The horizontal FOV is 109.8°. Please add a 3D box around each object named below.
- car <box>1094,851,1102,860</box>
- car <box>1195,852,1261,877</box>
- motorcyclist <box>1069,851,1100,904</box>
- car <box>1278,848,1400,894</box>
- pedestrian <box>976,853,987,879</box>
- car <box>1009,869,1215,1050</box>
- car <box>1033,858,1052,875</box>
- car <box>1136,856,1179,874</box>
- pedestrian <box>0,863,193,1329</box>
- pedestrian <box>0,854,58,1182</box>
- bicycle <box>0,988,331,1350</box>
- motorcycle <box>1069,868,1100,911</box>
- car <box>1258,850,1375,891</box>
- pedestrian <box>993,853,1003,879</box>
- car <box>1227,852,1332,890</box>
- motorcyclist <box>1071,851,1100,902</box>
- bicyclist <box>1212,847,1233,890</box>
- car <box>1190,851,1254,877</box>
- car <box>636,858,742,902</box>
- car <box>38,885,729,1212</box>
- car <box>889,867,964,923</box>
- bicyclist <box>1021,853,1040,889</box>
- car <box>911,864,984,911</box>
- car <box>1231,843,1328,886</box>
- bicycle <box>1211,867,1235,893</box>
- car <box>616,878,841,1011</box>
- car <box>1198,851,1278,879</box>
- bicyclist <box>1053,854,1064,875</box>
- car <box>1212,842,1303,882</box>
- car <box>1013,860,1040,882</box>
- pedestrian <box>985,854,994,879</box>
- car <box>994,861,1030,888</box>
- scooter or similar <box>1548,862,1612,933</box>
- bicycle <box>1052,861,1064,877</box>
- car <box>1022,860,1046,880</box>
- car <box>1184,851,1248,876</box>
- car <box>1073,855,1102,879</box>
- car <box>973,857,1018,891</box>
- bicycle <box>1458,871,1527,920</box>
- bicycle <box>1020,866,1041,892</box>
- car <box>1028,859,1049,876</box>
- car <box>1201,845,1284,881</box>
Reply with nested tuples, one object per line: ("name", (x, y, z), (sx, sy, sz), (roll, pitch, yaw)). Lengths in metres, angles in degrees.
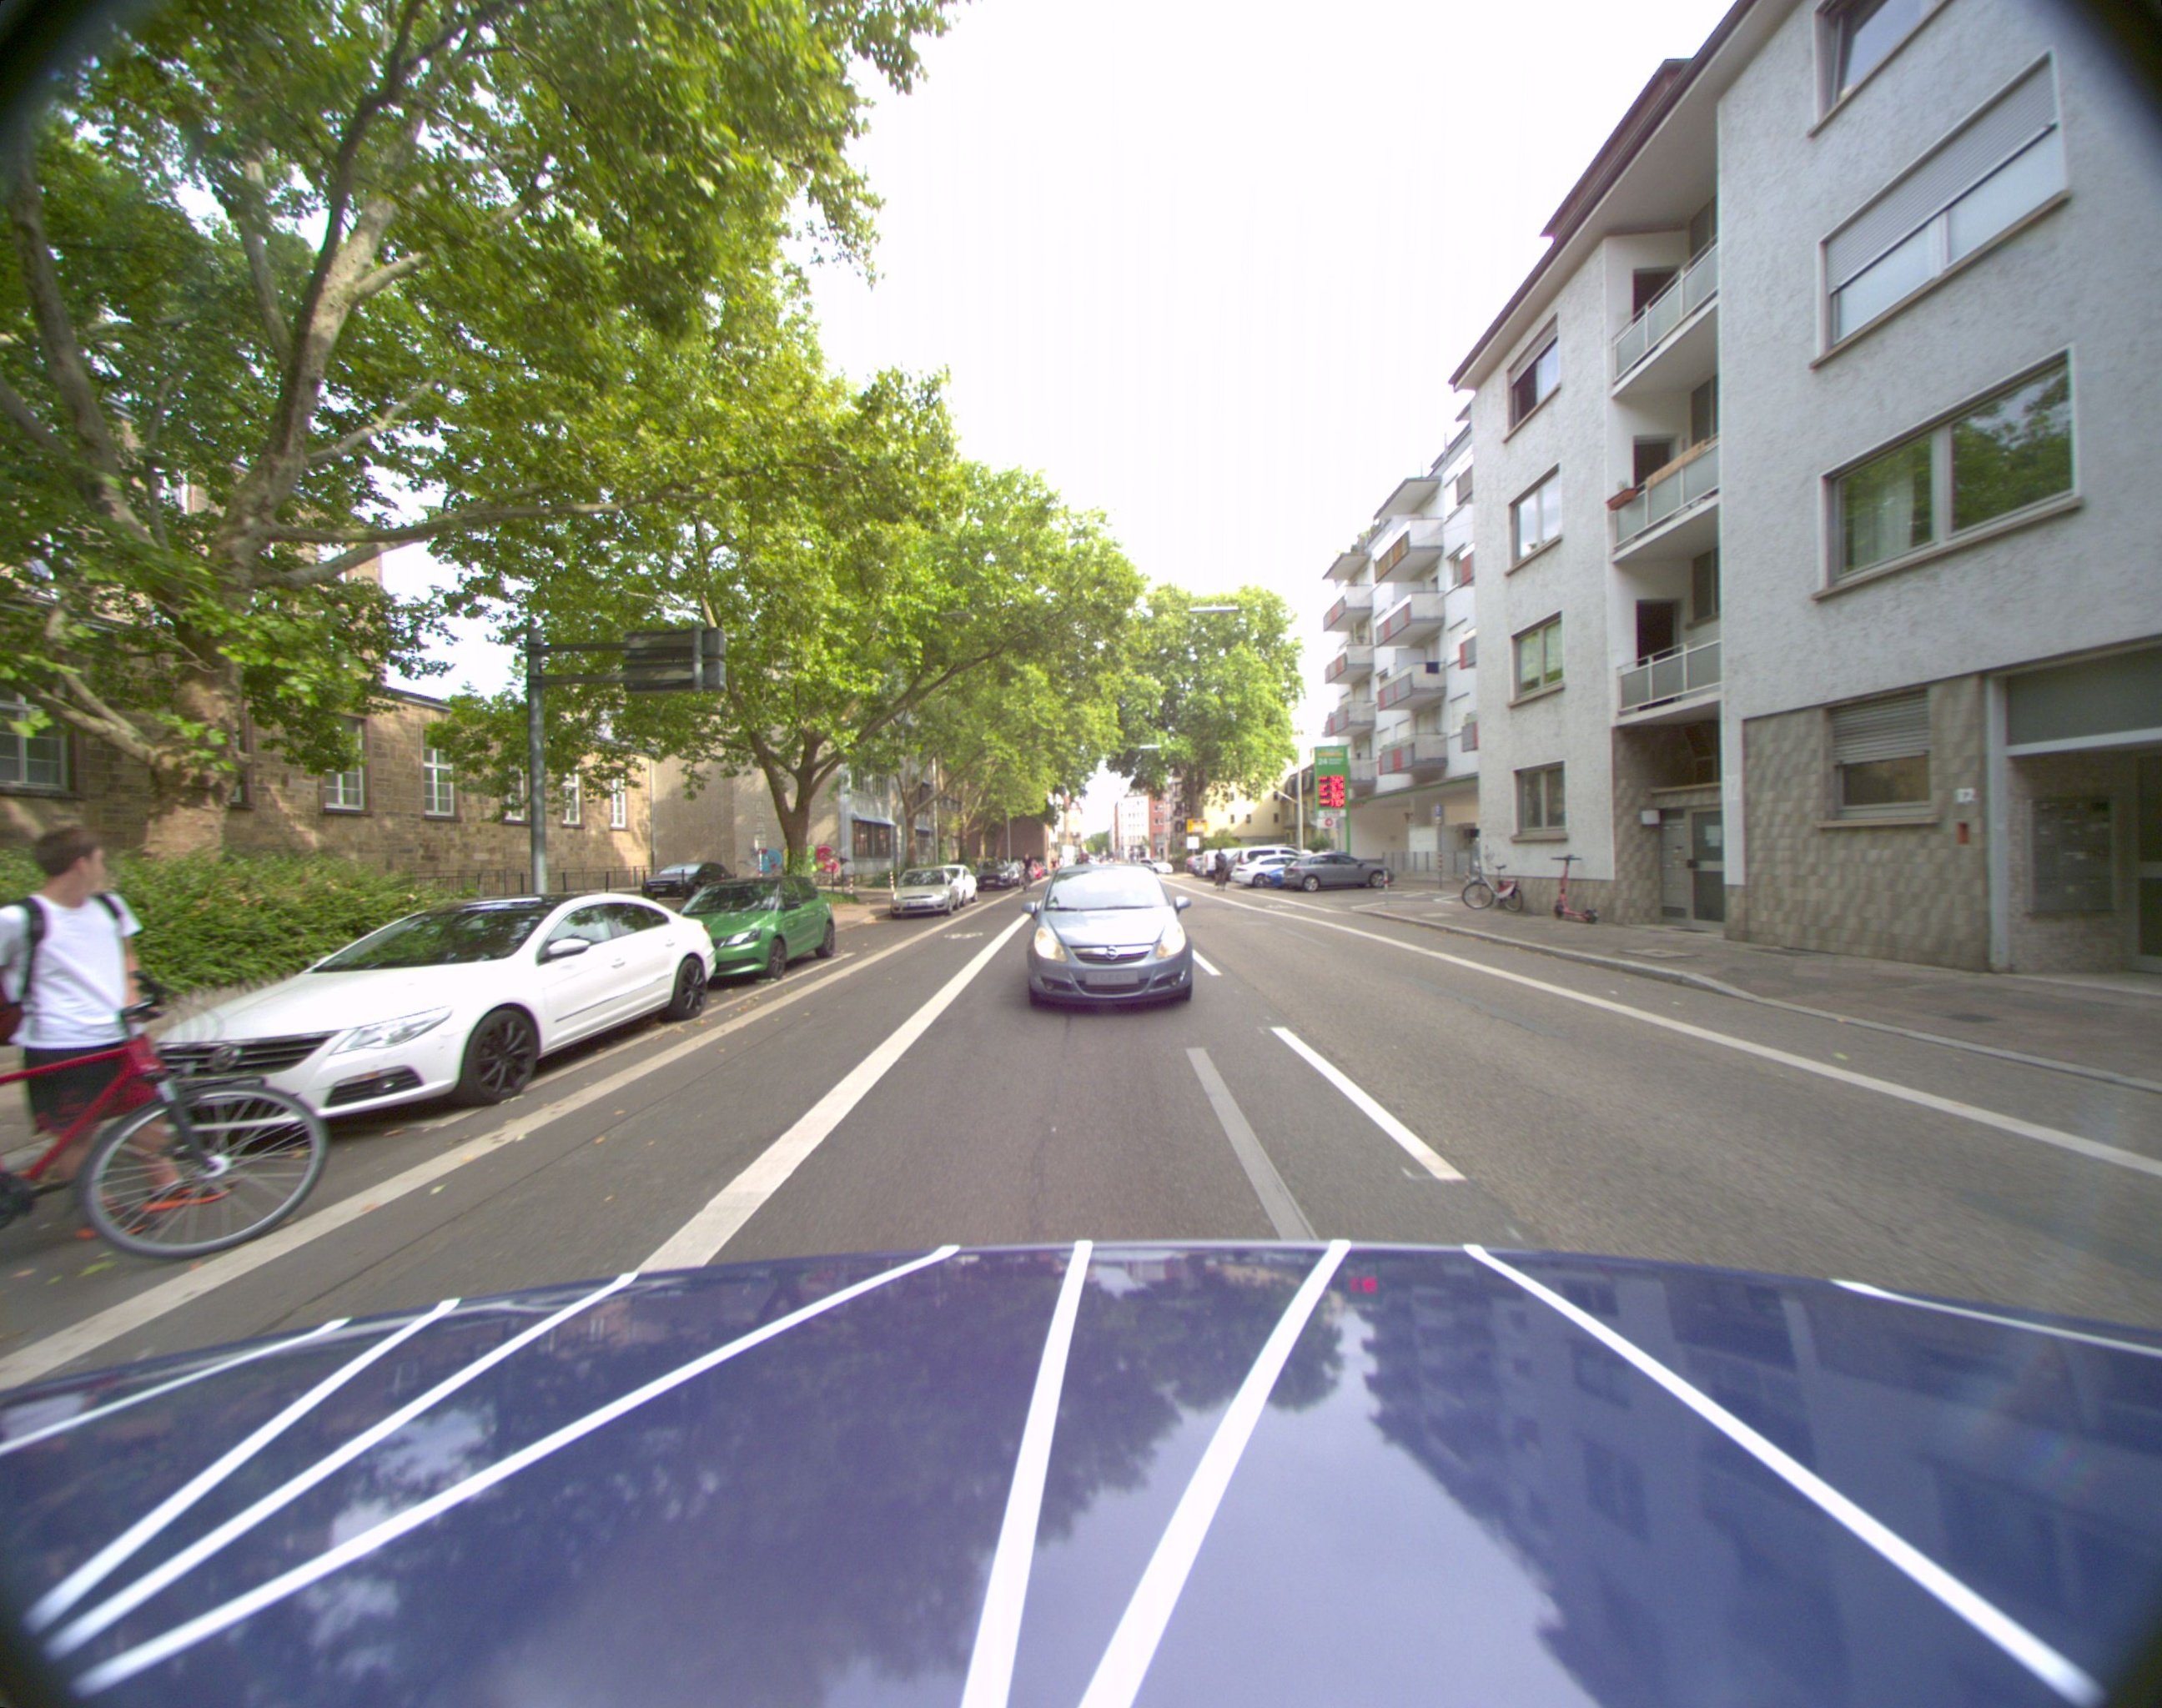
("car", (4.606, 0.437, 205.976), (1.998, 2.546, 4.799), (-2, 0, 1))
("car", (10.327, 0.726, 53.693), (4.276, 1.502, 1.719), (-4, 0, 2))
("motorcyclist", (0.116, 0.721, 23.607), (0.904, 1.608, 0.691), (-1, 1, 1))
("car", (10.171, 0.656, 30.212), (4.161, 1.504, 1.837), (-4, 0, 1))
("pedestrian", (-7.111, 0.867, 54.158), (0.644, 1.823, 0.645), (2, 1, 0))
("car", (0.293, 0.942, 8.589), (1.716, 1.412, 4.253), (-2, 0, 1))
("car", (-3.889, 1.267, 76.906), (1.602, 1.516, 3.956), (-3, 0, 1))
("car", (7.187, 1.049, 71.756), (1.939, 1.637, 3.990), (-1, 0, -32))
("pedestrian", (-4.574, 0.970, 3.303), (0.522, 1.834, 0.744), (-3, 1, -14))
("pedestrian", (-6.973, 1.009, 4.463), (0.795, 1.986, 0.750), (-2, 1, 1))
("bicycle", (-4.345, 1.269, 3.055), (1.796, 1.210, 0.552), (-3, 1, -17))
("motorcycle", (0.119, 1.056, 23.607), (0.904, 1.190, 2.630), (-1, 0, 1))
("car", (9.991, 0.694, 32.474), (4.311, 1.442, 1.910), (-4, 0, 1))
("pedestrian", (-5.840, 0.858, 53.762), (0.592, 1.775, 0.476), (2, 1, 0))
("car", (9.074, 0.749, 34.916), (4.281, 1.442, 1.874), (-4, 0, 1))
("motorcyclist", (0.148, 0.714, 24.316), (0.904, 1.608, 0.691), (-1, 1, 1))
("bicyclist", (6.049, 0.605, 32.594), (0.653, 1.800, 1.045), (-2, 1, 1))
("car", (10.319, 0.717, 55.822), (4.372, 1.540, 1.733), (-4, 0, 2))
("car", (-14.278, 0.969, 27.955), (1.673, 1.441, 4.299), (-2, -2, -1))
("car", (-4.904, 1.168, 6.483), (1.685, 1.507, 4.543), (-4, 0, -1))
("car", (-4.608, 1.176, 23.184), (1.647, 1.438, 3.881), (-3, 0, -4))
("bicyclist", (-2.419, 0.807, 36.501), (0.764, 1.698, 0.917), (-2, 0, 1))
("car", (-4.799, 1.171, 27.908), (1.758, 1.438, 4.218), (-3, 0, 1))
("car", (9.740, 0.508, 37.528), (4.221, 1.837, 1.924), (-4, 0, 1))
("bicycle", (6.066, 1.098, 32.520), (0.647, 1.008, 2.077), (-2, 1, 0))
("car", (-5.001, 1.186, 11.410), (1.591, 1.441, 3.805), (-4, 0, -1))
("car", (10.118, 0.694, 49.202), (4.716, 1.461, 1.874), (-4, 0, 2))
("bicyclist", (-1.774, 0.840, 58.987), (0.749, 1.590, 0.819), (-2, 0, 1))
("car", (10.229, 0.464, 44.294), (4.778, 1.923, 1.994), (-4, 0, 2))
("car", (-4.036, 1.224, 56.790), (1.602, 1.496, 4.440), (-3, 0, 1))
("pedestrian", (-6.491, 0.874, 53.769), (0.502, 1.775, 0.527), (2, 1, 0))
("car", (-4.186, 1.222, 46.814), (1.643, 1.424, 4.573), (-3, 0, 1))
("scooter or similar", (9.095, 0.770, 13.875), (0.350, 1.214, 1.202), (-2, 0, 1))
("bicycle", (-1.772, 1.171, 58.983), (0.763, 1.162, 1.950), (-2, 0, 1))
("car", (-3.798, 1.306, 61.923), (1.602, 1.438, 4.105), (-3, 0, 1))
("car", (10.270, 0.707, 58.137), (4.529, 1.596, 1.754), (-4, 0, 2))
("car", (0.460, 0.915, 54.928), (2.000, 1.556, 4.551), (-2, 0, 1))
("car", (-4.574, 1.043, 41.290), (1.926, 1.612, 4.480), (-3, 0, -1))
("bicycle", (8.948, 0.879, 16.583), (0.598, 0.945, 1.663), (-2, 0, 1))
("bicycle", (-2.411, 1.173, 36.446), (0.763, 1.162, 1.950), (-2, 0, 1))
("car", (-4.006, 1.242, 72.194), (1.602, 1.516, 3.956), (-3, 0, 1))
("car", (9.870, 0.530, 46.765), (4.627, 1.848, 1.950), (-4, 0, 2))
